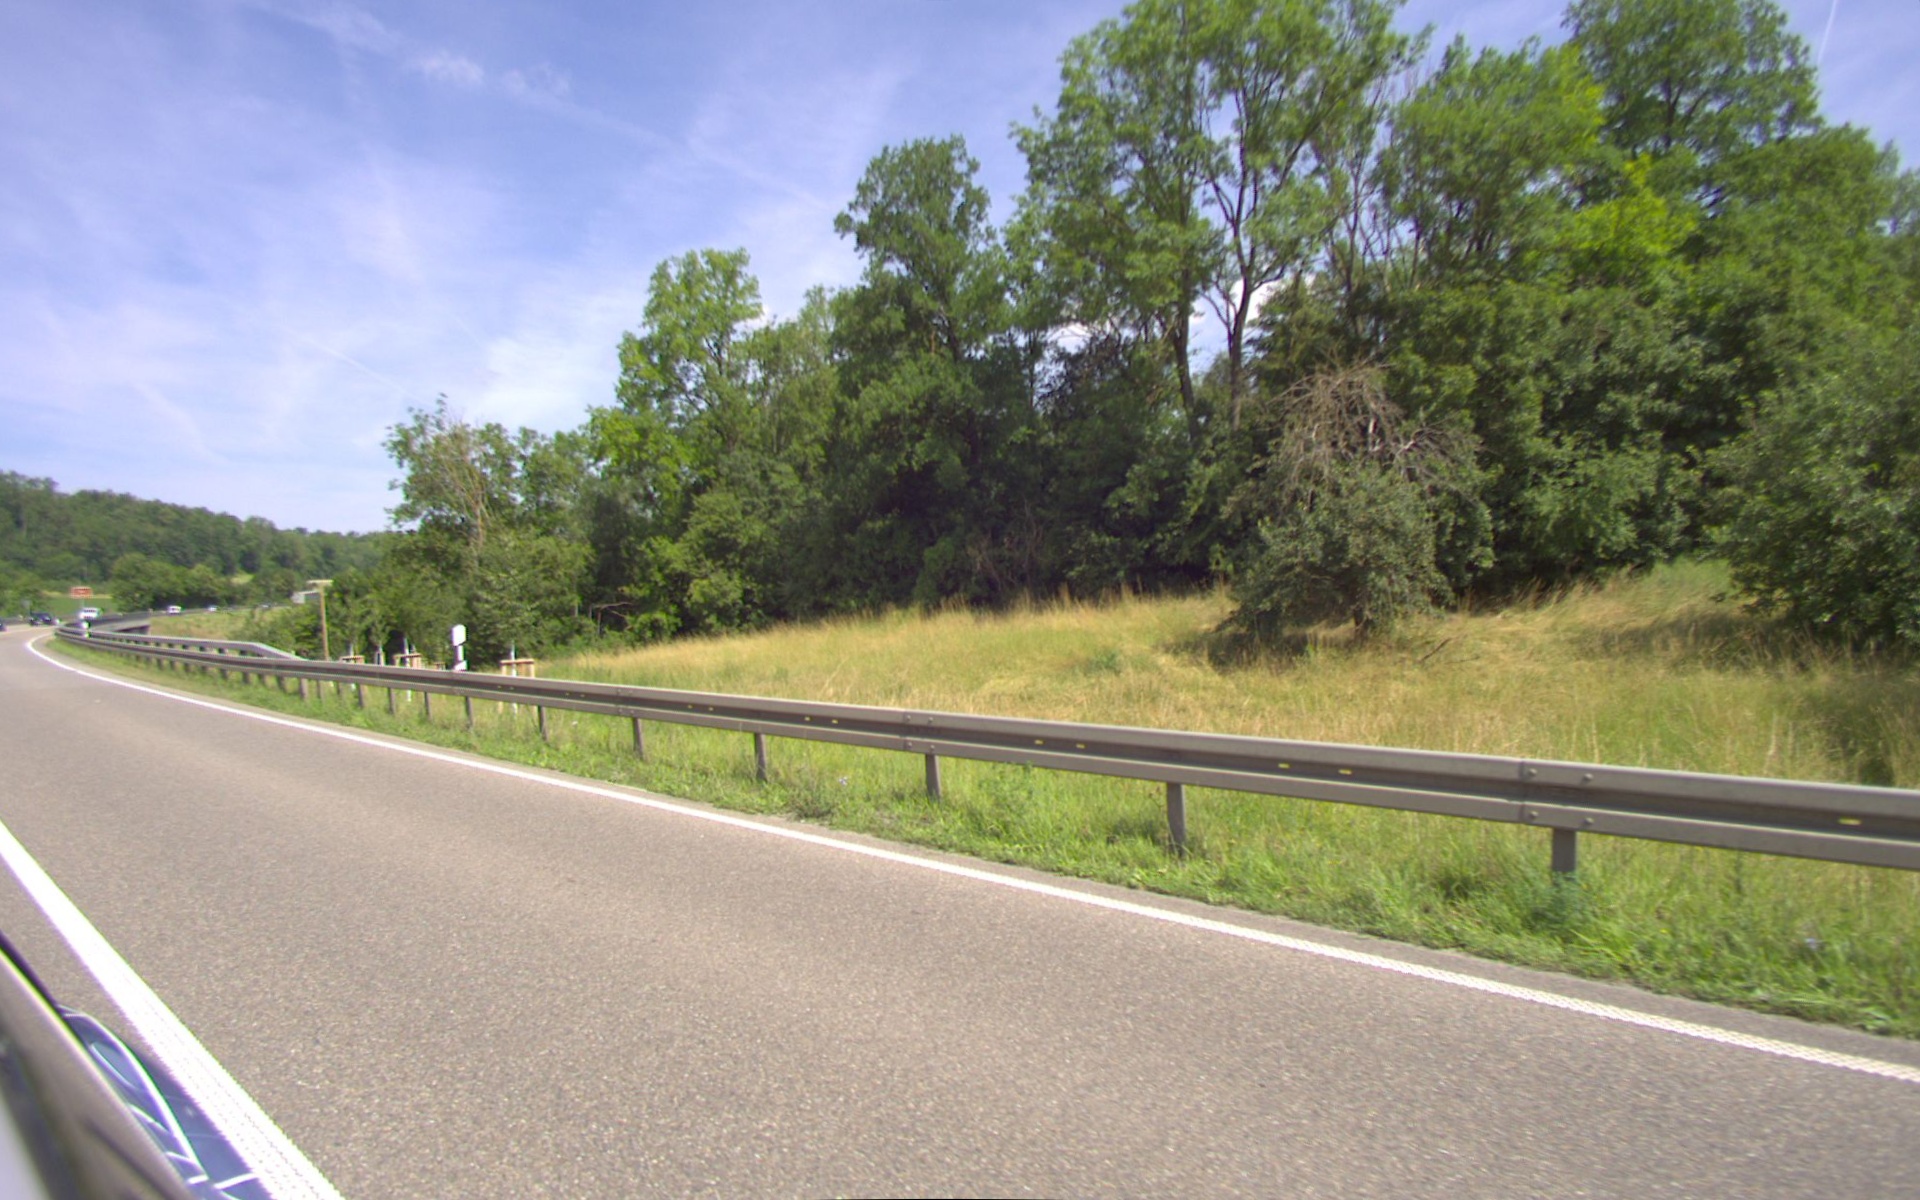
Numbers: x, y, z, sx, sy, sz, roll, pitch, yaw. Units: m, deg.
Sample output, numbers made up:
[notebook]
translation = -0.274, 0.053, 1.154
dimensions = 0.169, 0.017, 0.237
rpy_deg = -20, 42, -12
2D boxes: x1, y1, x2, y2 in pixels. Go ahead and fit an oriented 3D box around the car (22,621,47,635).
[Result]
[car]
translation = -109.494, 3.297, 119.794
dimensions = 1.715, 1.465, 4.046
rpy_deg = 0, 0, -35
